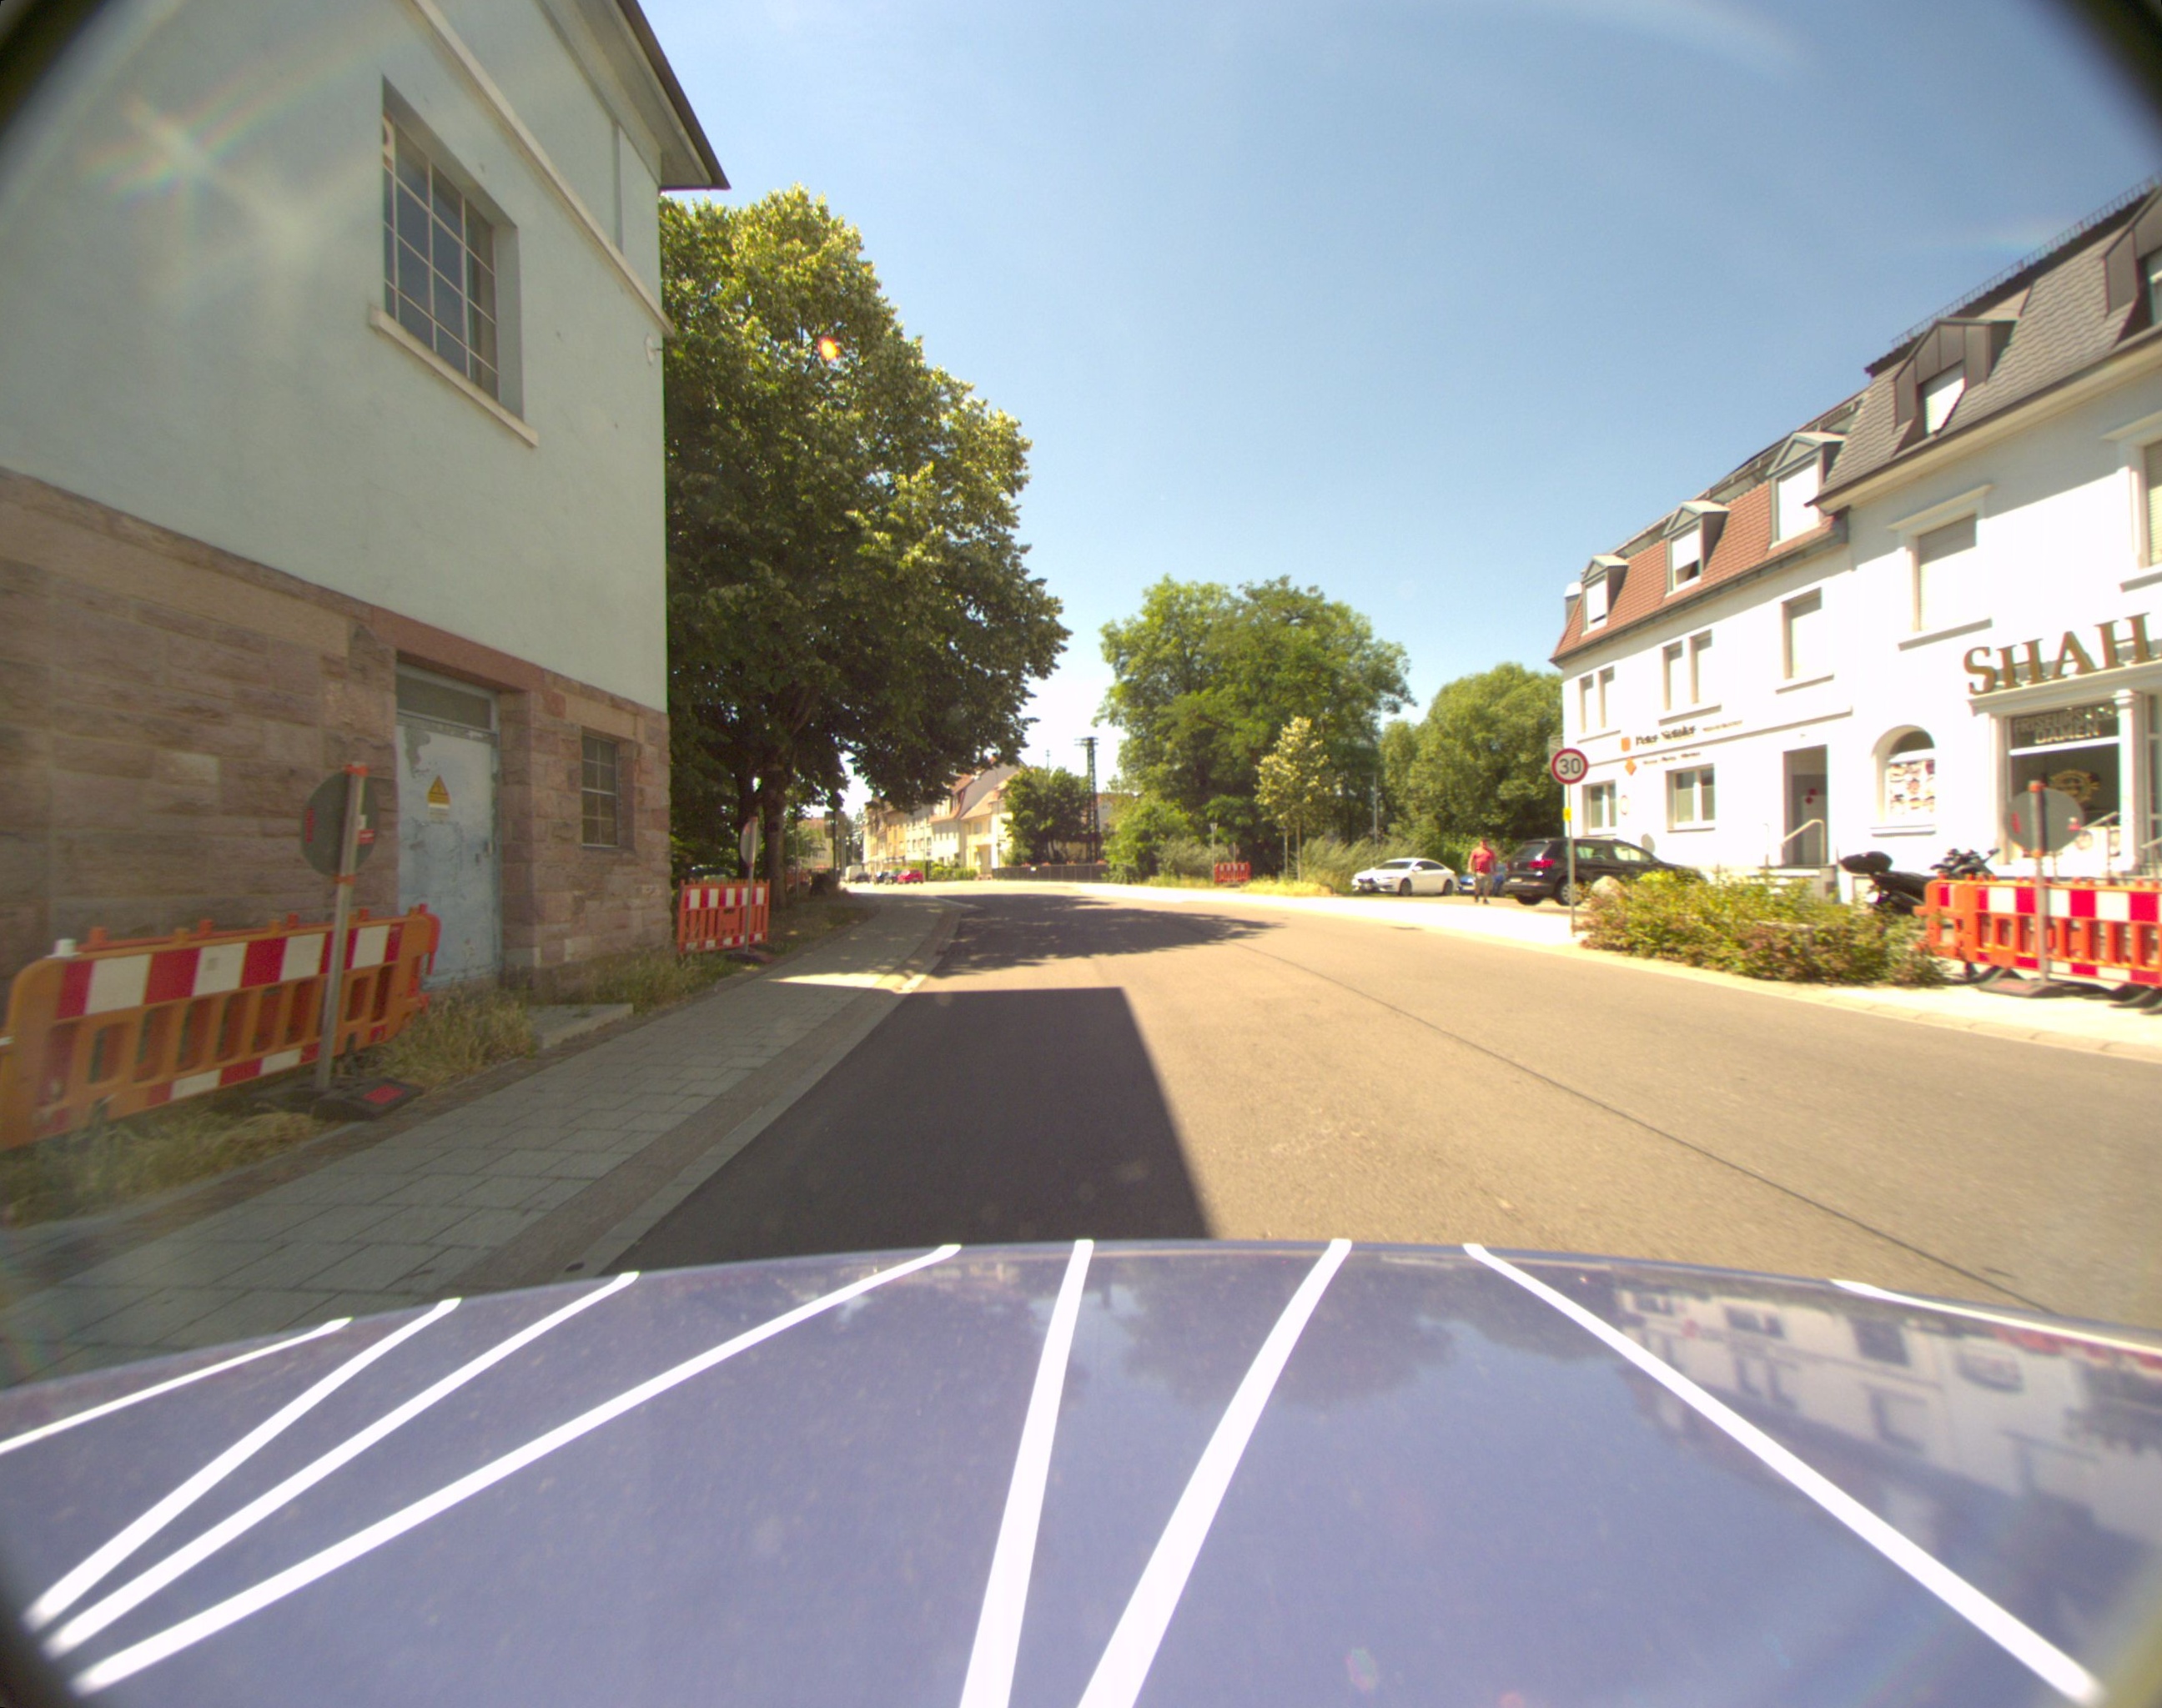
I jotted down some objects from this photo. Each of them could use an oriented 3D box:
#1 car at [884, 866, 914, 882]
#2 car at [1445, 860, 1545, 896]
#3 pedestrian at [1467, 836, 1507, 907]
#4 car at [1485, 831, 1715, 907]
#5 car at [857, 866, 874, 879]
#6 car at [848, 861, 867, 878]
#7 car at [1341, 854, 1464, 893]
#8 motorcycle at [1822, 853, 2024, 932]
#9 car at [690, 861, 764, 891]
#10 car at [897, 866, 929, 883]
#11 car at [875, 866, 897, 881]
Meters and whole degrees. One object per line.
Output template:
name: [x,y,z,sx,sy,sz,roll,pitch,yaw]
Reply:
car: [-18.738,2.053,78.226,1.872,1.453,5.297,-3,-1,-26]
car: [17.244,0.994,31.610,4.008,1.337,1.994,2,0,-34]
pedestrian: [10.341,0.434,19.355,0.736,1.744,0.739,0,1,41]
car: [12.276,0.330,18.165,4.192,1.652,1.970,-1,0,-2]
car: [-29.136,2.469,102.782,2.093,1.605,5.102,-2,-1,-16]
car: [-33.295,2.335,113.055,2.128,2.435,6.107,-3,0,-22]
car: [12.044,0.678,28.354,4.717,1.348,1.995,0,0,-34]
motorcycle: [13.892,0.614,12.585,2.401,1.211,0.833,-1,2,0]
car: [-24.229,1.464,52.053,4.358,1.828,1.746,-2,1,-33]
car: [-16.163,1.977,72.896,1.886,1.471,4.729,-4,0,-25]
car: [-21.486,2.180,83.514,1.795,1.450,4.191,-4,0,-22]
